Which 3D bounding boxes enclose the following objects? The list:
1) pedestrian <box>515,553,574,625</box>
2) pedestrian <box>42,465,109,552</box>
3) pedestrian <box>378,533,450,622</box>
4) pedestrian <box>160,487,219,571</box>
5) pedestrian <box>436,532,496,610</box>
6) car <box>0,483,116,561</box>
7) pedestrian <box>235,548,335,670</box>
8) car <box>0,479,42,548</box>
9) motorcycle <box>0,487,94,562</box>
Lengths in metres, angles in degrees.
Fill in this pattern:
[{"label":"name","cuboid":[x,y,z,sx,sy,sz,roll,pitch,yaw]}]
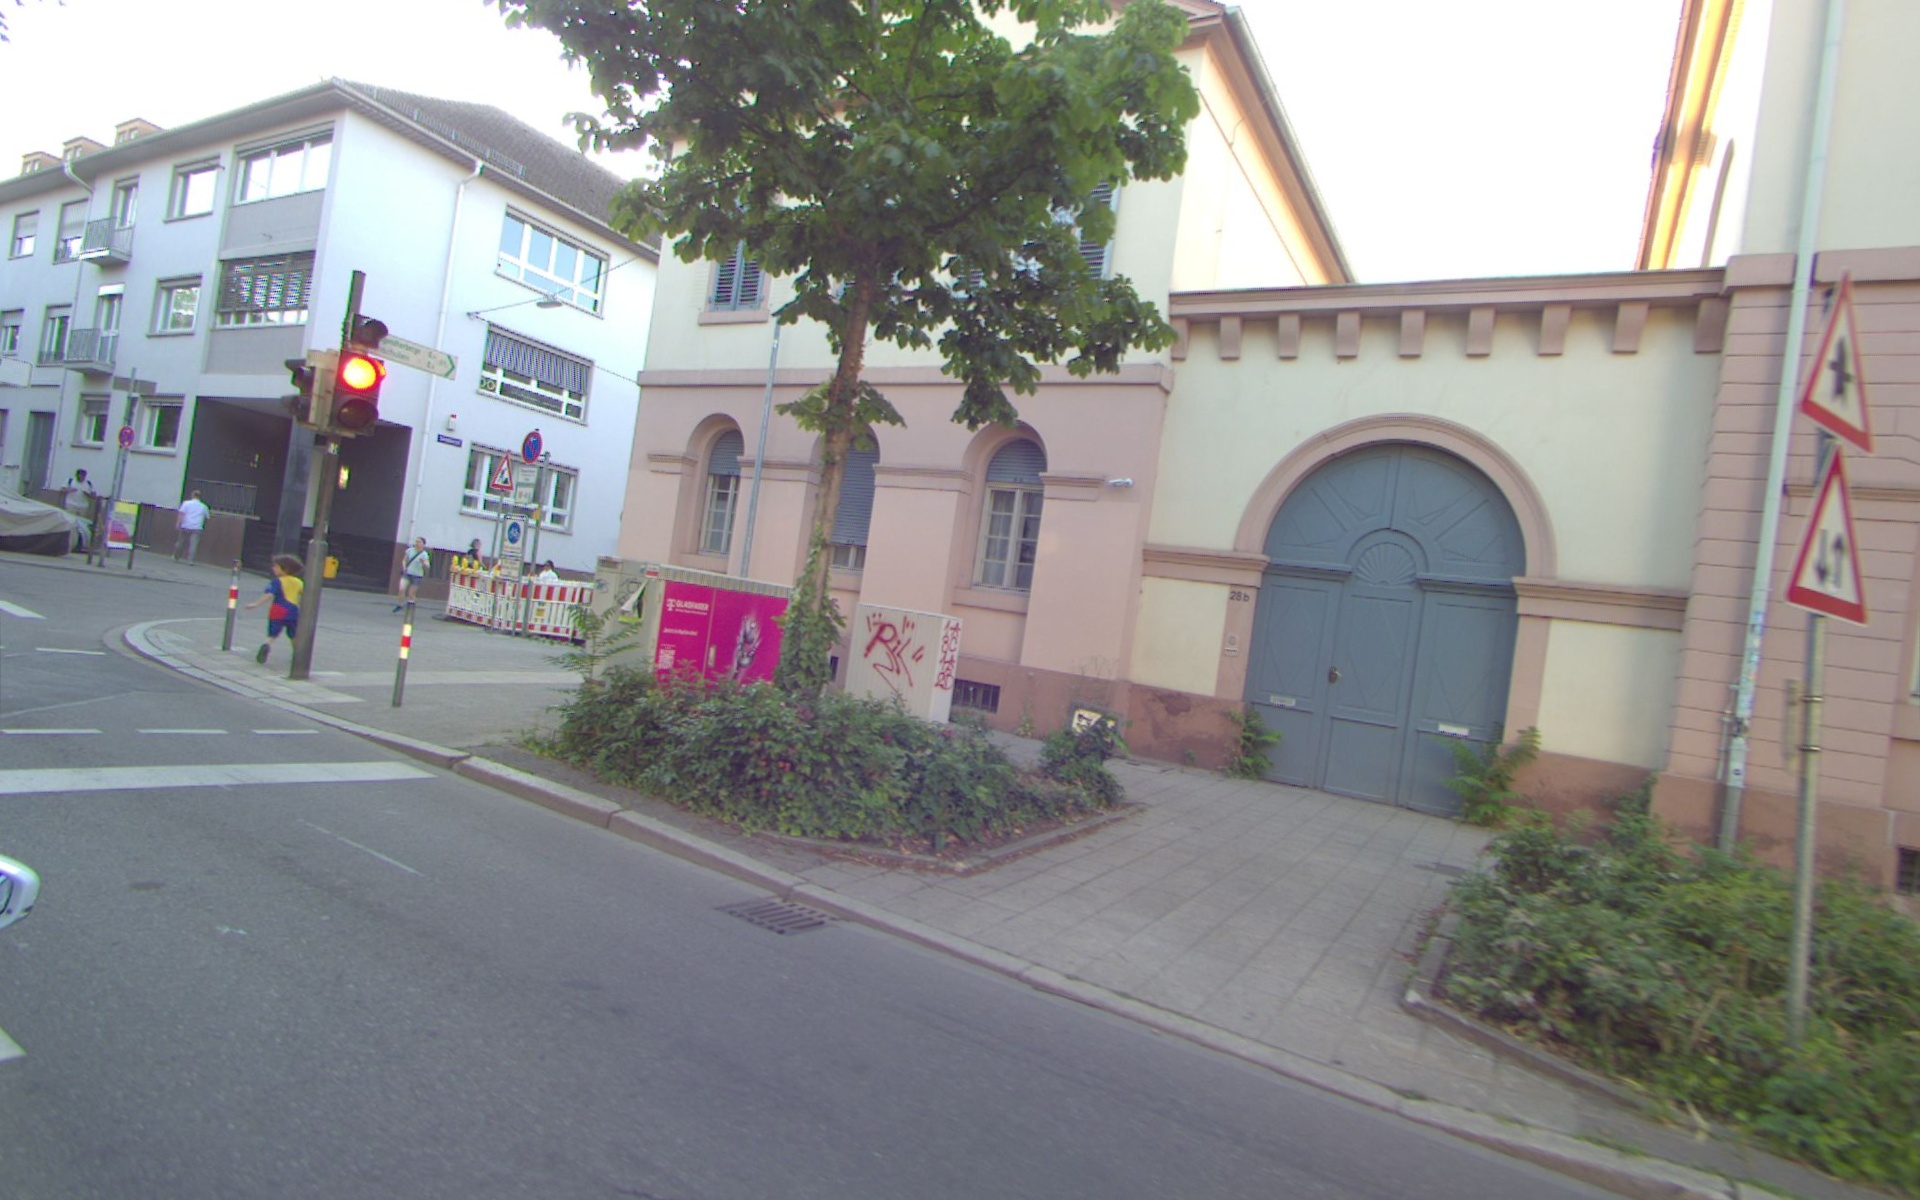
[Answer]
[{"label":"pedestrian","cuboid":[-9.470,-0.243,22.951,0.762,1.519,0.802,7,0,18]},{"label":"pedestrian","cuboid":[-20.950,-2.163,23.820,0.928,1.862,0.768,8,-1,33]},{"label":"pedestrian","cuboid":[-10.519,-0.415,19.425,0.689,1.575,0.979,9,-1,-6]},{"label":"pedestrian","cuboid":[-17.625,-1.617,23.007,0.688,1.772,0.704,8,-1,36]},{"label":"pedestrian","cuboid":[-12.294,-0.726,25.047,0.918,1.772,0.770,8,-1,32]},{"label":"car","cuboid":[-20.460,-1.818,20.952,1.679,1.358,4.021,8,-1,32]},{"label":"pedestrian","cuboid":[-6.970,0.092,10.381,0.825,1.135,0.565,8,1,41]},{"label":"car","cuboid":[-22.927,-2.197,21.854,1.678,1.459,4.022,8,-1,31]},{"label":"motorcycle","cuboid":[-17.852,-1.466,19.225,0.604,1.213,1.799,8,-1,41]}]
